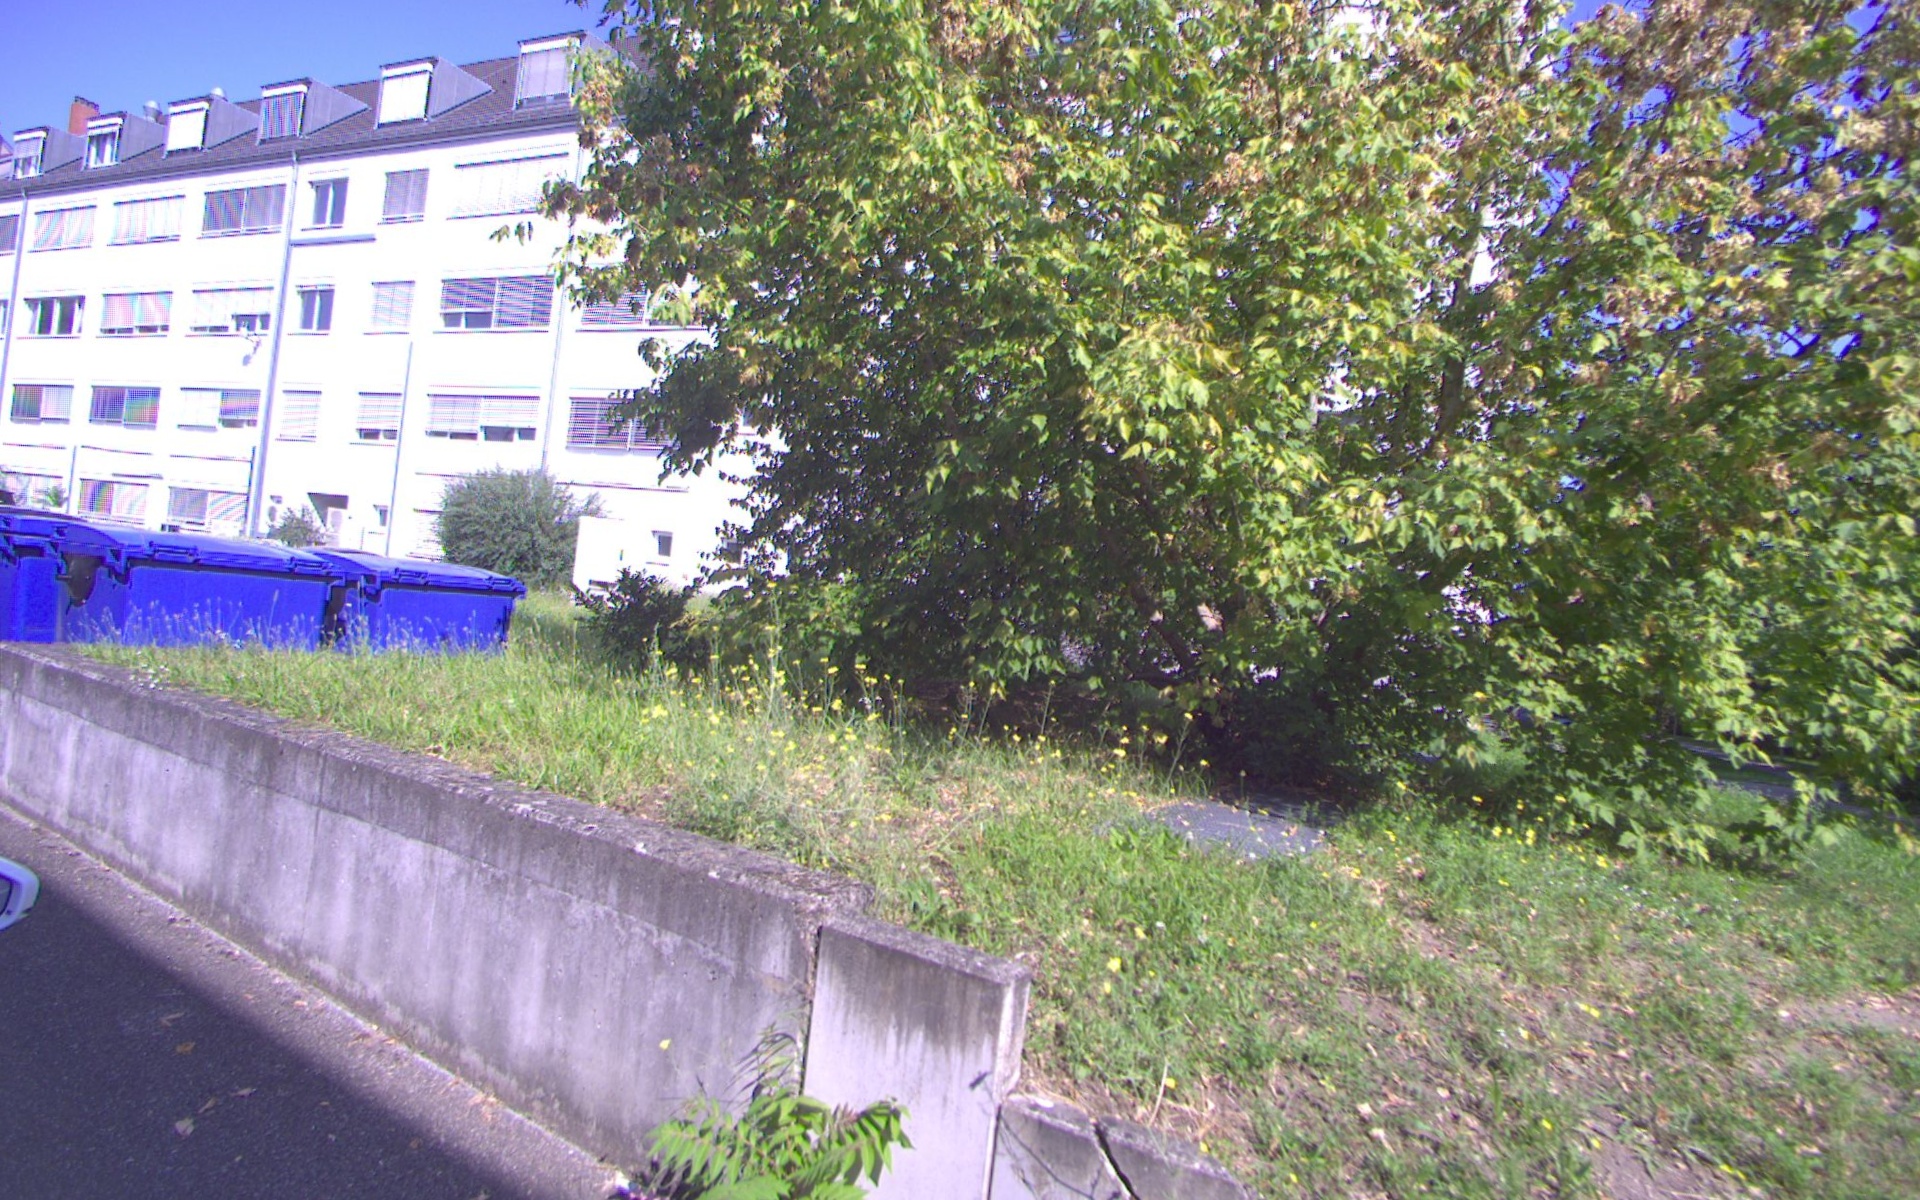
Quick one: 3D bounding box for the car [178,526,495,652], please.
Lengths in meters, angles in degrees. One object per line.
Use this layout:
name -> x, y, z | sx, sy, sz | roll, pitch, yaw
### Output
car -> -9.220, -0.131, 15.160 | 1.772, 1.565, 3.621 | 5, 2, 28

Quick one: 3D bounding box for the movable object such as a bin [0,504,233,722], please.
movable object such as a bin -> -6.216, 0.096, 7.079 | 1.174, 1.356, 1.303 | 5, -2, 30

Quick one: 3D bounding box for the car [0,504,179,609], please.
car -> -17.187, -0.868, 18.548 | 1.846, 1.607, 3.875 | 6, -3, 25

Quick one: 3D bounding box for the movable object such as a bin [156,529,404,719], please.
movable object such as a bin -> -5.518, 0.214, 8.204 | 1.099, 1.356, 1.236 | 5, -2, 34

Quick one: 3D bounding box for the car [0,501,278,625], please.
car -> -14.303, -0.576, 17.264 | 1.862, 1.607, 3.814 | 6, -3, 21

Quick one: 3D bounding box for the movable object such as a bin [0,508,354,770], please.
movable object such as a bin -> -4.763, 0.244, 6.163 | 1.081, 1.356, 1.313 | 6, -2, 27

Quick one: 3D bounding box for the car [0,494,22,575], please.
car -> -23.422, -1.719, 21.474 | 1.848, 1.815, 4.516 | 5, -2, 21

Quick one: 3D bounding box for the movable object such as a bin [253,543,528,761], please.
movable object such as a bin -> -4.093, 0.377, 7.310 | 1.058, 1.356, 1.230 | 6, -2, 26

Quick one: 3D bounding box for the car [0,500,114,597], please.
car -> -19.646, -1.181, 19.803 | 1.740, 1.711, 4.129 | 6, -3, 28
